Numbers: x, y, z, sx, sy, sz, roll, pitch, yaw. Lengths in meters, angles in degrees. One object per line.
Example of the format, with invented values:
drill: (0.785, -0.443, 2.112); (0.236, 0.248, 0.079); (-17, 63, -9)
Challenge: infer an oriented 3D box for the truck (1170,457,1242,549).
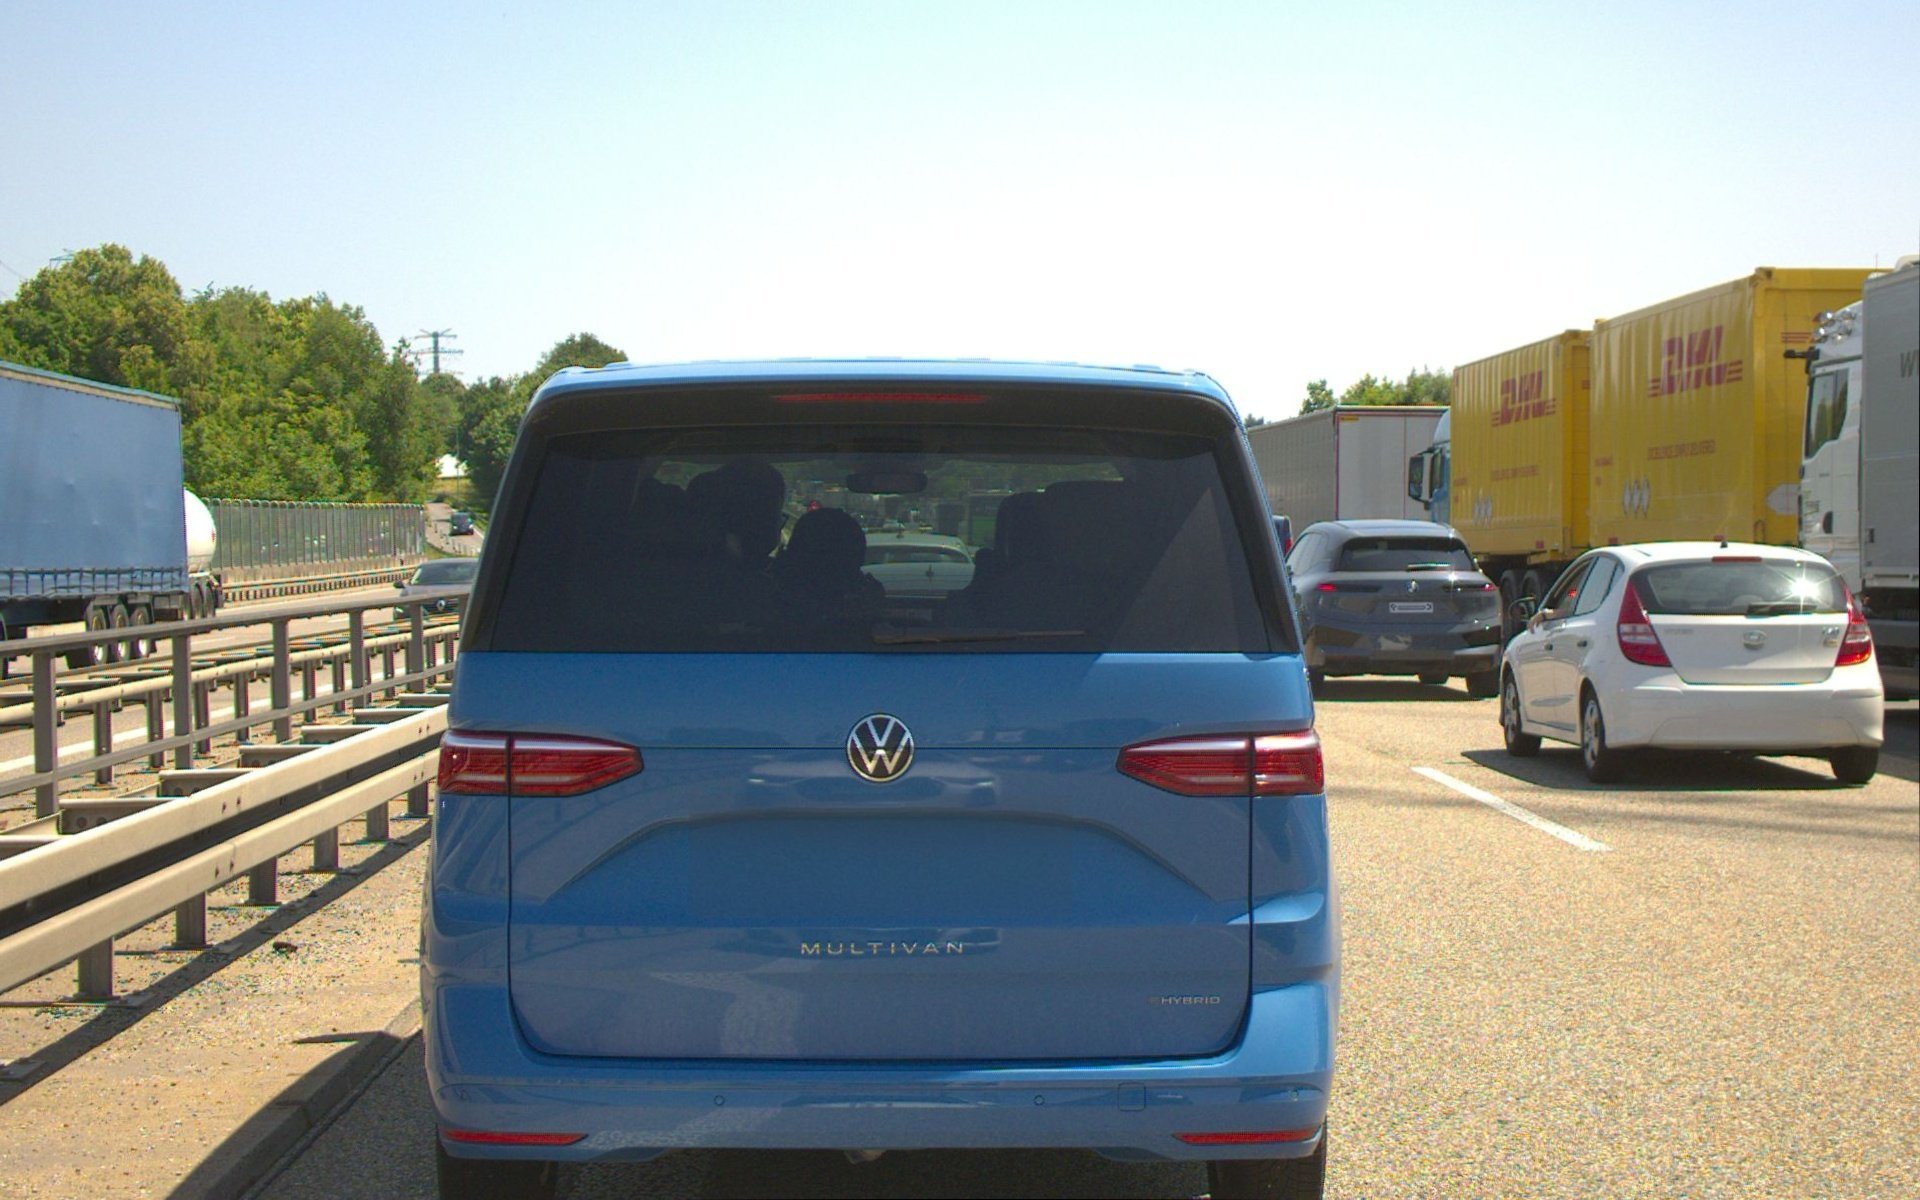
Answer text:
truck: (7.060, -2.766, 98.998); (1.742, 2.540, 4.210); (1, 0, 0)

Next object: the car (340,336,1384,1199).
car: (-0.204, 0.435, 8.421); (1.930, 1.867, 4.000); (1, 0, -1)

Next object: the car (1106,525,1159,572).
car: (6.578, -1.956, 131.297); (1.797, 1.745, 3.943); (1, 0, 0)

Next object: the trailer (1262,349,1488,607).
trailer: (7.953, -2.245, 67.361); (3.026, 4.595, 10.925); (1, 0, 0)

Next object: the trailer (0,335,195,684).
trailer: (-12.860, -1.093, 45.879); (2.704, 4.151, 12.051); (-2, 1, -1)

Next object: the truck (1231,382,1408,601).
truck: (7.927, -2.334, 76.797); (3.026, 4.595, 7.921); (1, 0, 0)

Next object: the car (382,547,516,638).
car: (-9.062, -0.150, 61.255); (1.881, 1.547, 4.190); (1, 1, -2)

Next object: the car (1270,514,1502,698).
car: (4.122, 0.037, 33.793); (1.815, 1.673, 3.932); (1, 0, 1)

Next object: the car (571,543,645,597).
car: (-10.414, -0.899, 101.797); (1.881, 1.547, 4.190); (1, 1, -2)

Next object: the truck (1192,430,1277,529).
truck: (7.163, -3.123, 90.003); (1.798, 2.441, 4.504); (1, 0, 0)

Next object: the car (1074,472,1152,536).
car: (4.225, -2.648, 95.472); (1.919, 1.700, 4.000); (1, 0, -1)

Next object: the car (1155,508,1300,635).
car: (4.233, -0.463, 54.944); (1.962, 1.929, 3.932); (1, 0, -1)

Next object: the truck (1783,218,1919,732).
truck: (8.762, -0.927, 24.893); (2.852, 3.921, 10.610); (1, 1, -1)

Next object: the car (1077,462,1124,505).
car: (5.973, -4.956, 146.617); (1.797, 1.745, 3.943); (1, 0, 0)

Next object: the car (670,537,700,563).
car: (-19.661, -3.583, 245.777); (1.839, 1.816, 4.748); (-1, 0, -1)

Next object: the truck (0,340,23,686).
truck: (-12.714, -0.982, 38.438); (2.753, 4.102, 6.266); (-1, 0, -1)

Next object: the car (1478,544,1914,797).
car: (4.620, 0.398, 22.166); (1.815, 1.465, 3.932); (1, 1, -2)

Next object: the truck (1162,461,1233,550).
truck: (7.169, -2.843, 103.917); (1.797, 2.587, 4.305); (1, 0, 0)

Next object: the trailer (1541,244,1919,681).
trailer: (8.476, -1.325, 36.722); (2.682, 4.074, 8.981); (1, 0, -2)

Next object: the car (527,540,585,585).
car: (-15.542, -1.431, 132.407); (1.806, 1.634, 4.000); (-2, 1, -2)

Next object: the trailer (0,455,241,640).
trailer: (-17.579, -1.078, 72.458); (2.498, 3.528, 10.904); (-2, 1, 0)

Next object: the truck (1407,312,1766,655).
truck: (8.159, -1.446, 46.157); (2.699, 4.074, 9.940); (1, 1, -2)
